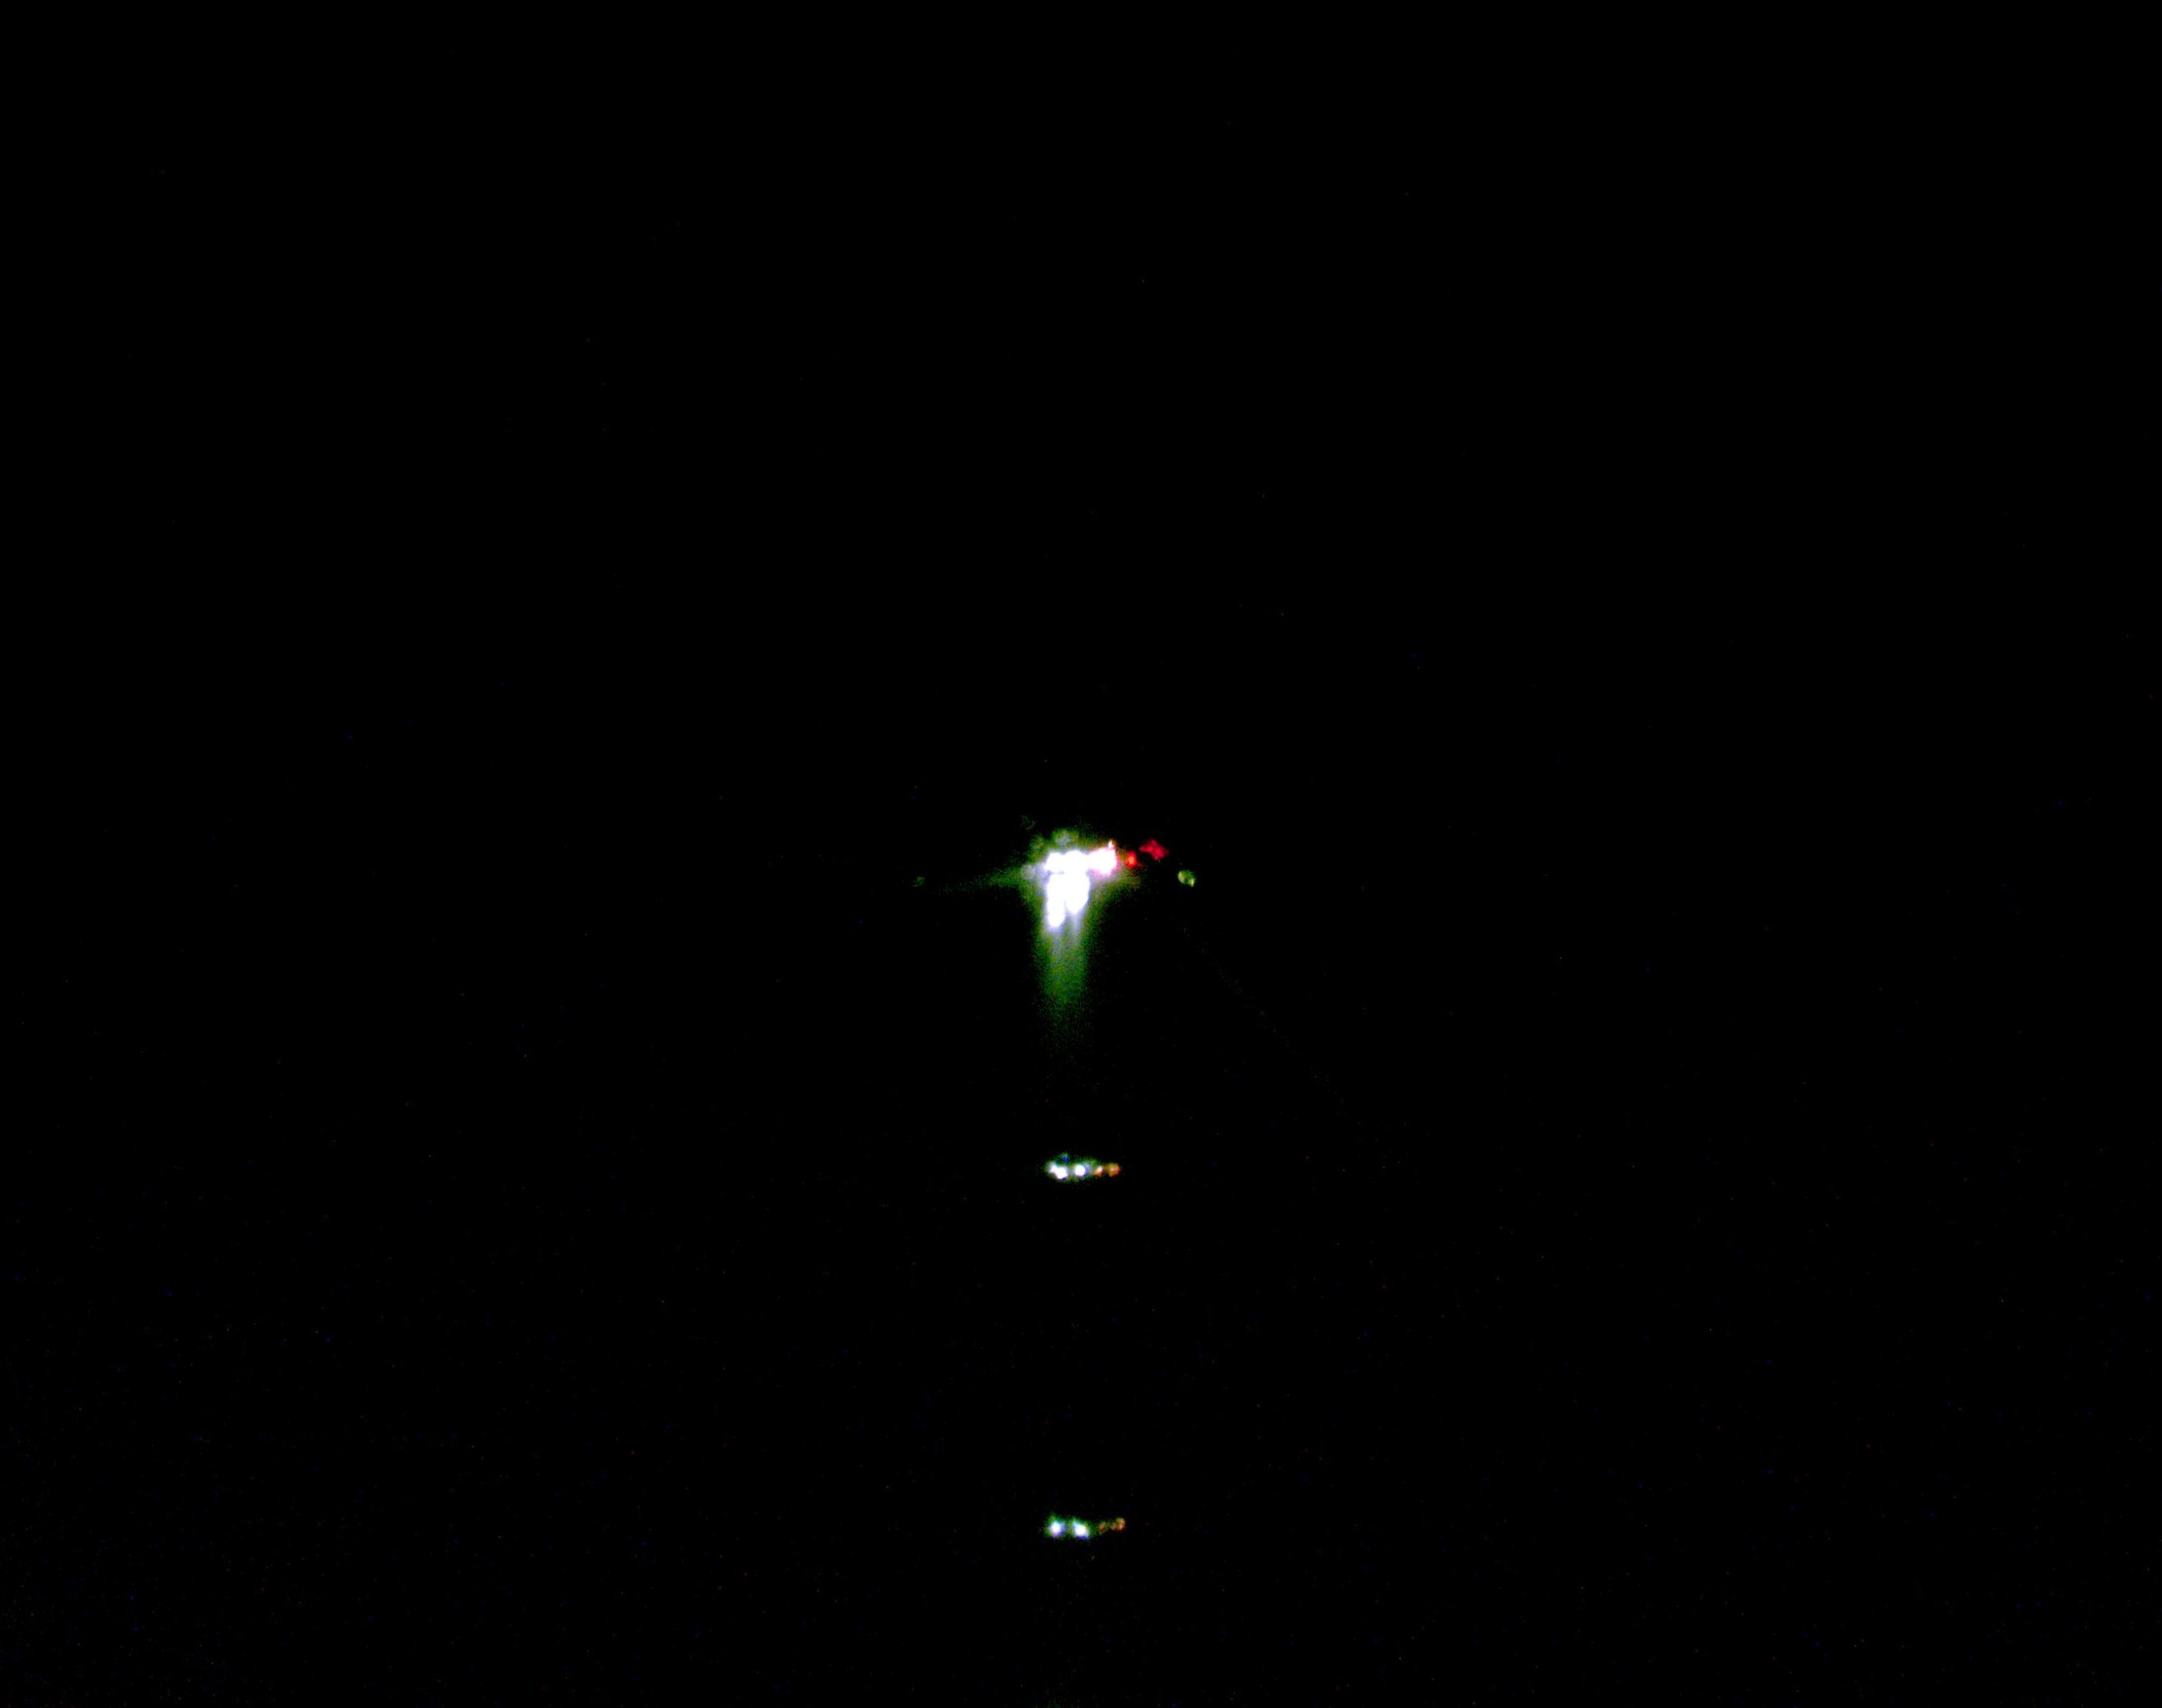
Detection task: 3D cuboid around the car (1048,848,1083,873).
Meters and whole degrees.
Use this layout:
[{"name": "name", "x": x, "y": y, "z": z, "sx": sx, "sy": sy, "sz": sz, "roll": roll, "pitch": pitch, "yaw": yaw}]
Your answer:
[{"name": "car", "x": -1.020, "y": 0.444, "z": 56.098, "sx": 1.985, "sy": 1.624, "sz": 4.004, "roll": -1, "pitch": 0, "yaw": 4}]

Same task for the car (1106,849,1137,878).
[{"name": "car", "x": 2.686, "y": 0.576, "z": 53.233, "sx": 1.834, "sy": 1.740, "sz": 4.005, "roll": -2, "pitch": 1, "yaw": 4}]

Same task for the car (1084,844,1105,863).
[{"name": "car", "x": 1.590, "y": -0.134, "z": 92.682, "sx": 1.984, "sy": 2.013, "sz": 4.282, "roll": -3, "pitch": 0, "yaw": 5}]

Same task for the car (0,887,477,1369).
[{"name": "car", "x": -4.070, "y": 0.888, "z": 2.595, "sx": 1.590, "sy": 1.402, "sz": 3.471, "roll": -3, "pitch": -1, "yaw": 1}]
